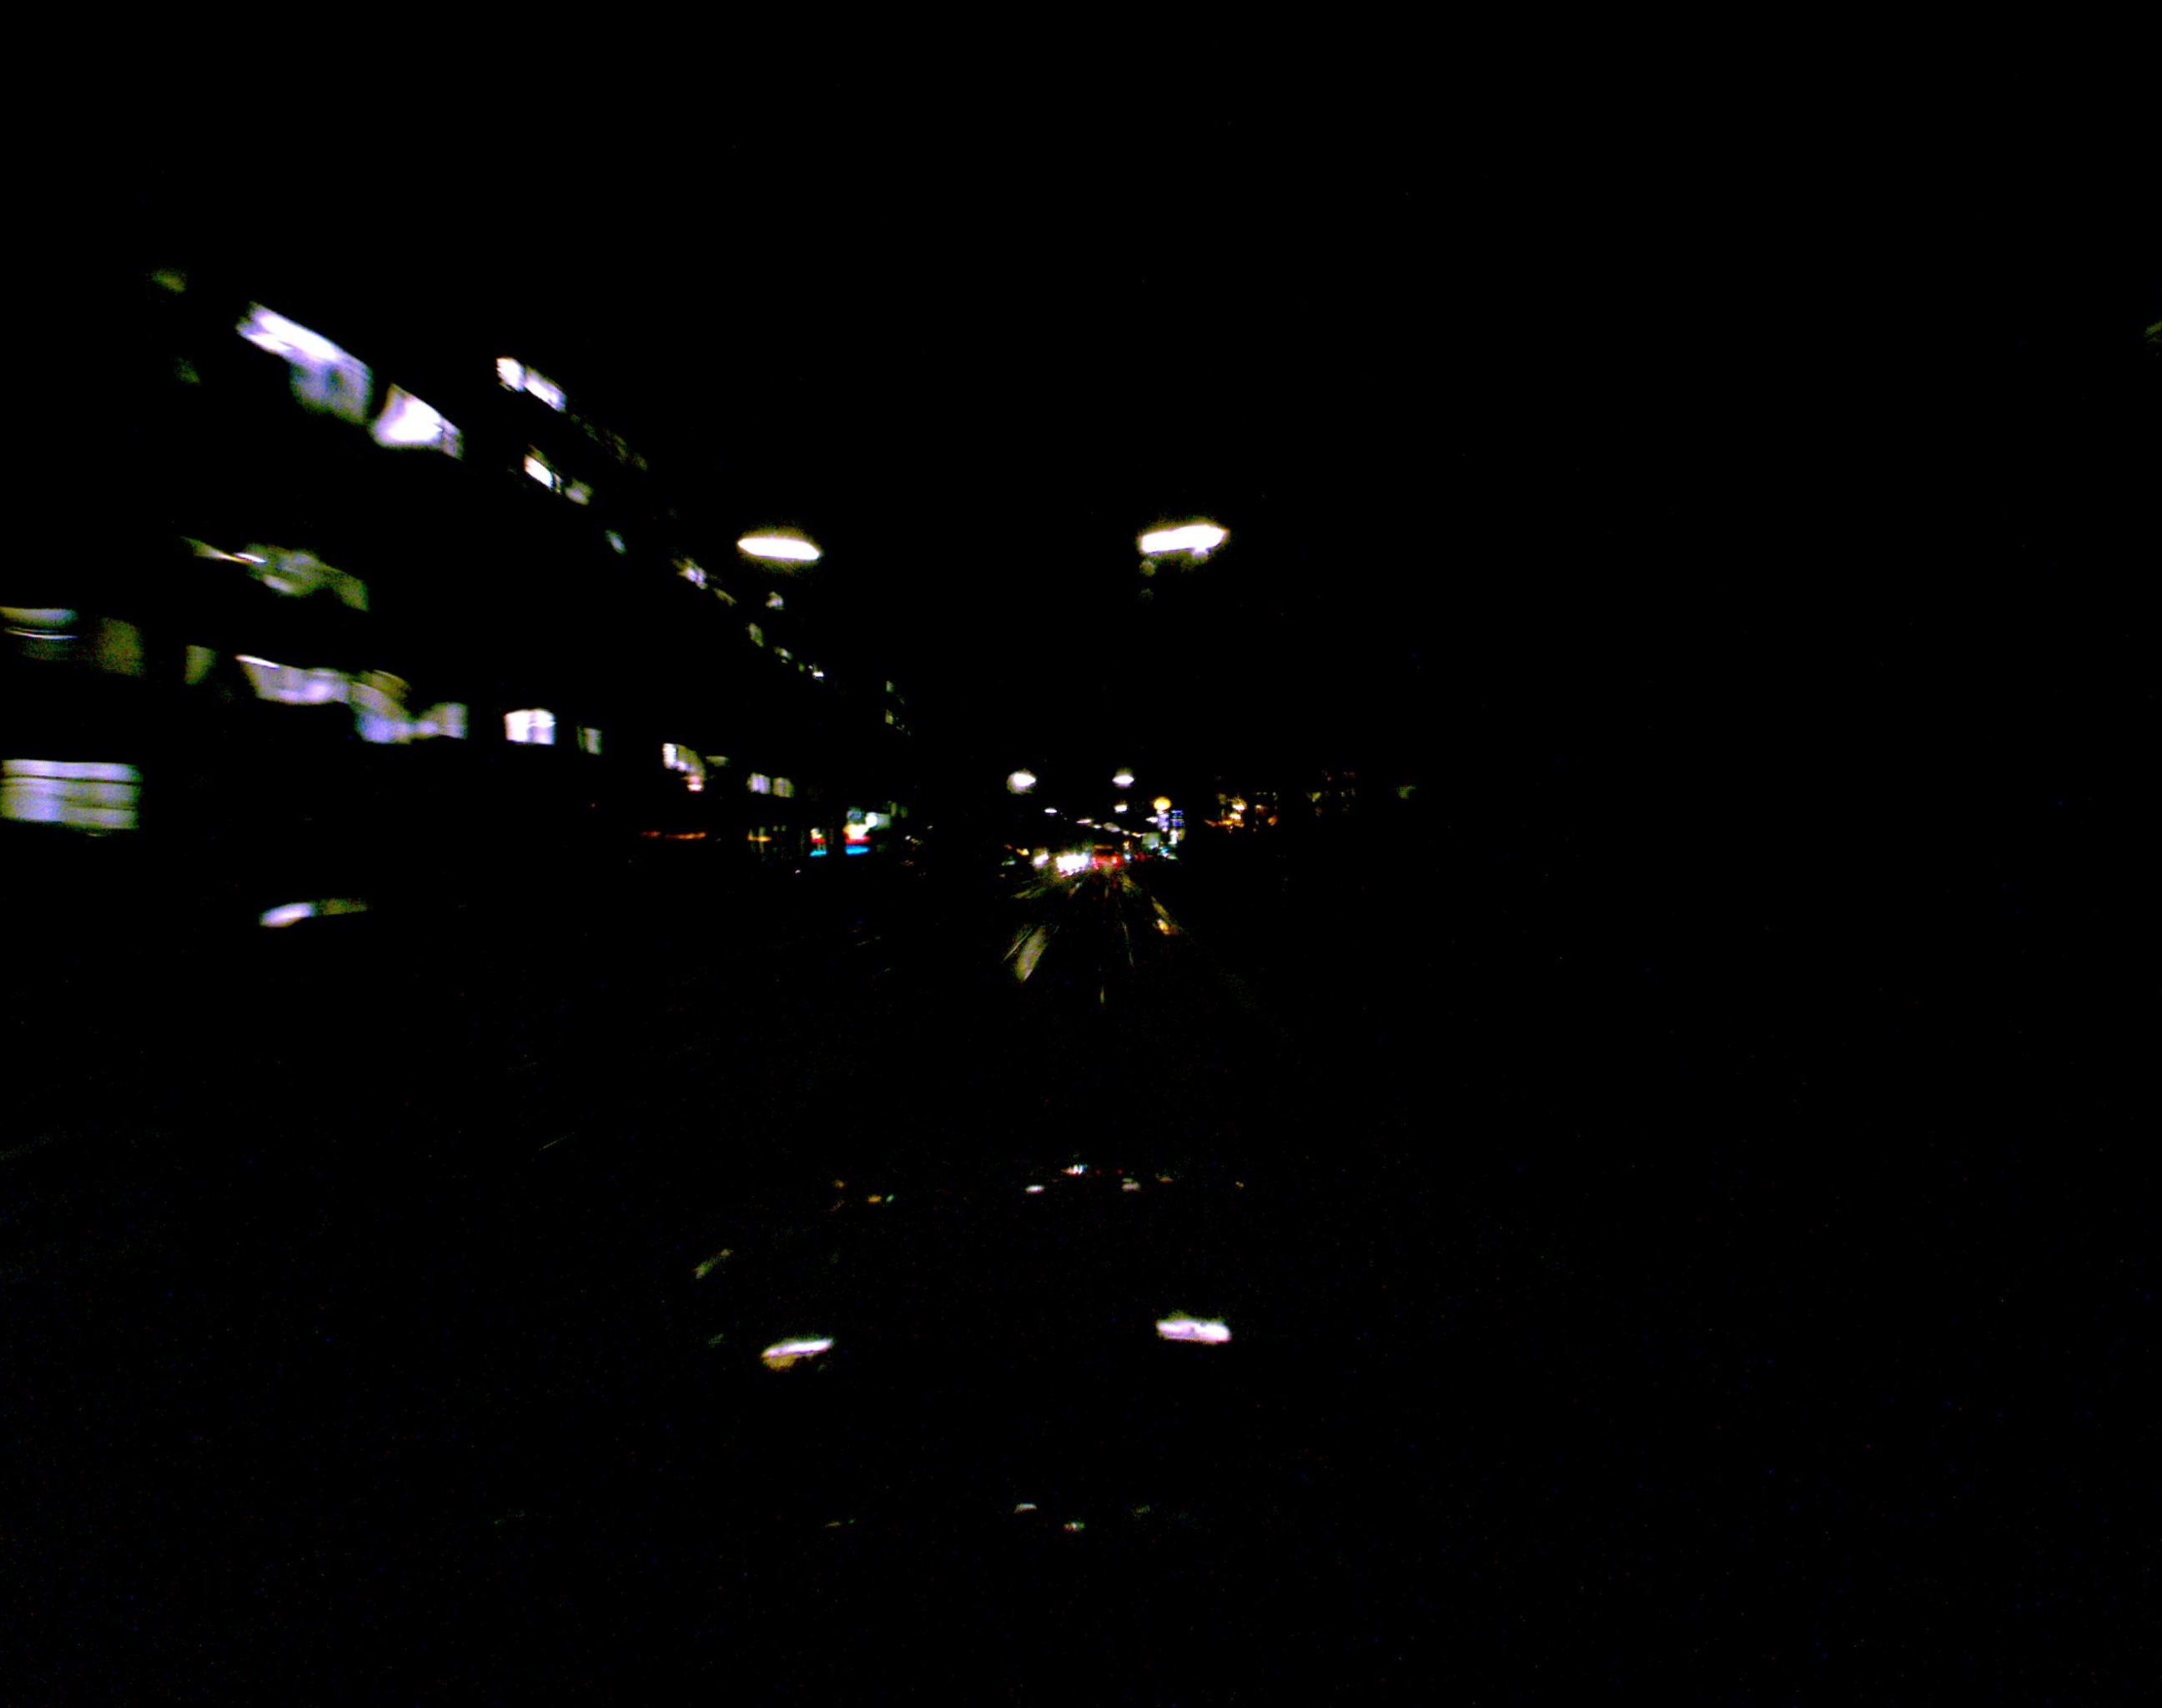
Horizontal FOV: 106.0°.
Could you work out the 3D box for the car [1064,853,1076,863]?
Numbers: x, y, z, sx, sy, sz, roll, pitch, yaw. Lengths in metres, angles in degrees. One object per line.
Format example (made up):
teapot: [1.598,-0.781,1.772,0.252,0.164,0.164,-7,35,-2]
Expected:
car: [-2.348,0.786,170.052,2.313,1.932,4.960,-1,0,-2]

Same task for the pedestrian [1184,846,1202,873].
pedestrian: [7.276,0.367,52.879,0.937,1.663,0.993,-3,0,-3]

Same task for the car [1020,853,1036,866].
car: [-8.148,0.879,125.466,1.985,2.014,4.003,-1,0,3]

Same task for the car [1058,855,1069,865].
car: [-3.204,1.054,148.030,1.988,1.724,4.073,-1,0,-2]

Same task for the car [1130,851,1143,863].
car: [9.548,0.528,139.739,1.986,2.014,4.001,-1,0,1]

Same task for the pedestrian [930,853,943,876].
pedestrian: [-10.827,0.751,60.905,0.783,1.686,0.883,-1,-1,1]

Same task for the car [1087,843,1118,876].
car: [1.601,0.439,61.979,2.236,2.361,4.394,-1,0,1]

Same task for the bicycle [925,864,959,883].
bicycle: [-8.128,1.123,47.779,1.847,1.077,0.628,-1,-1,1]
